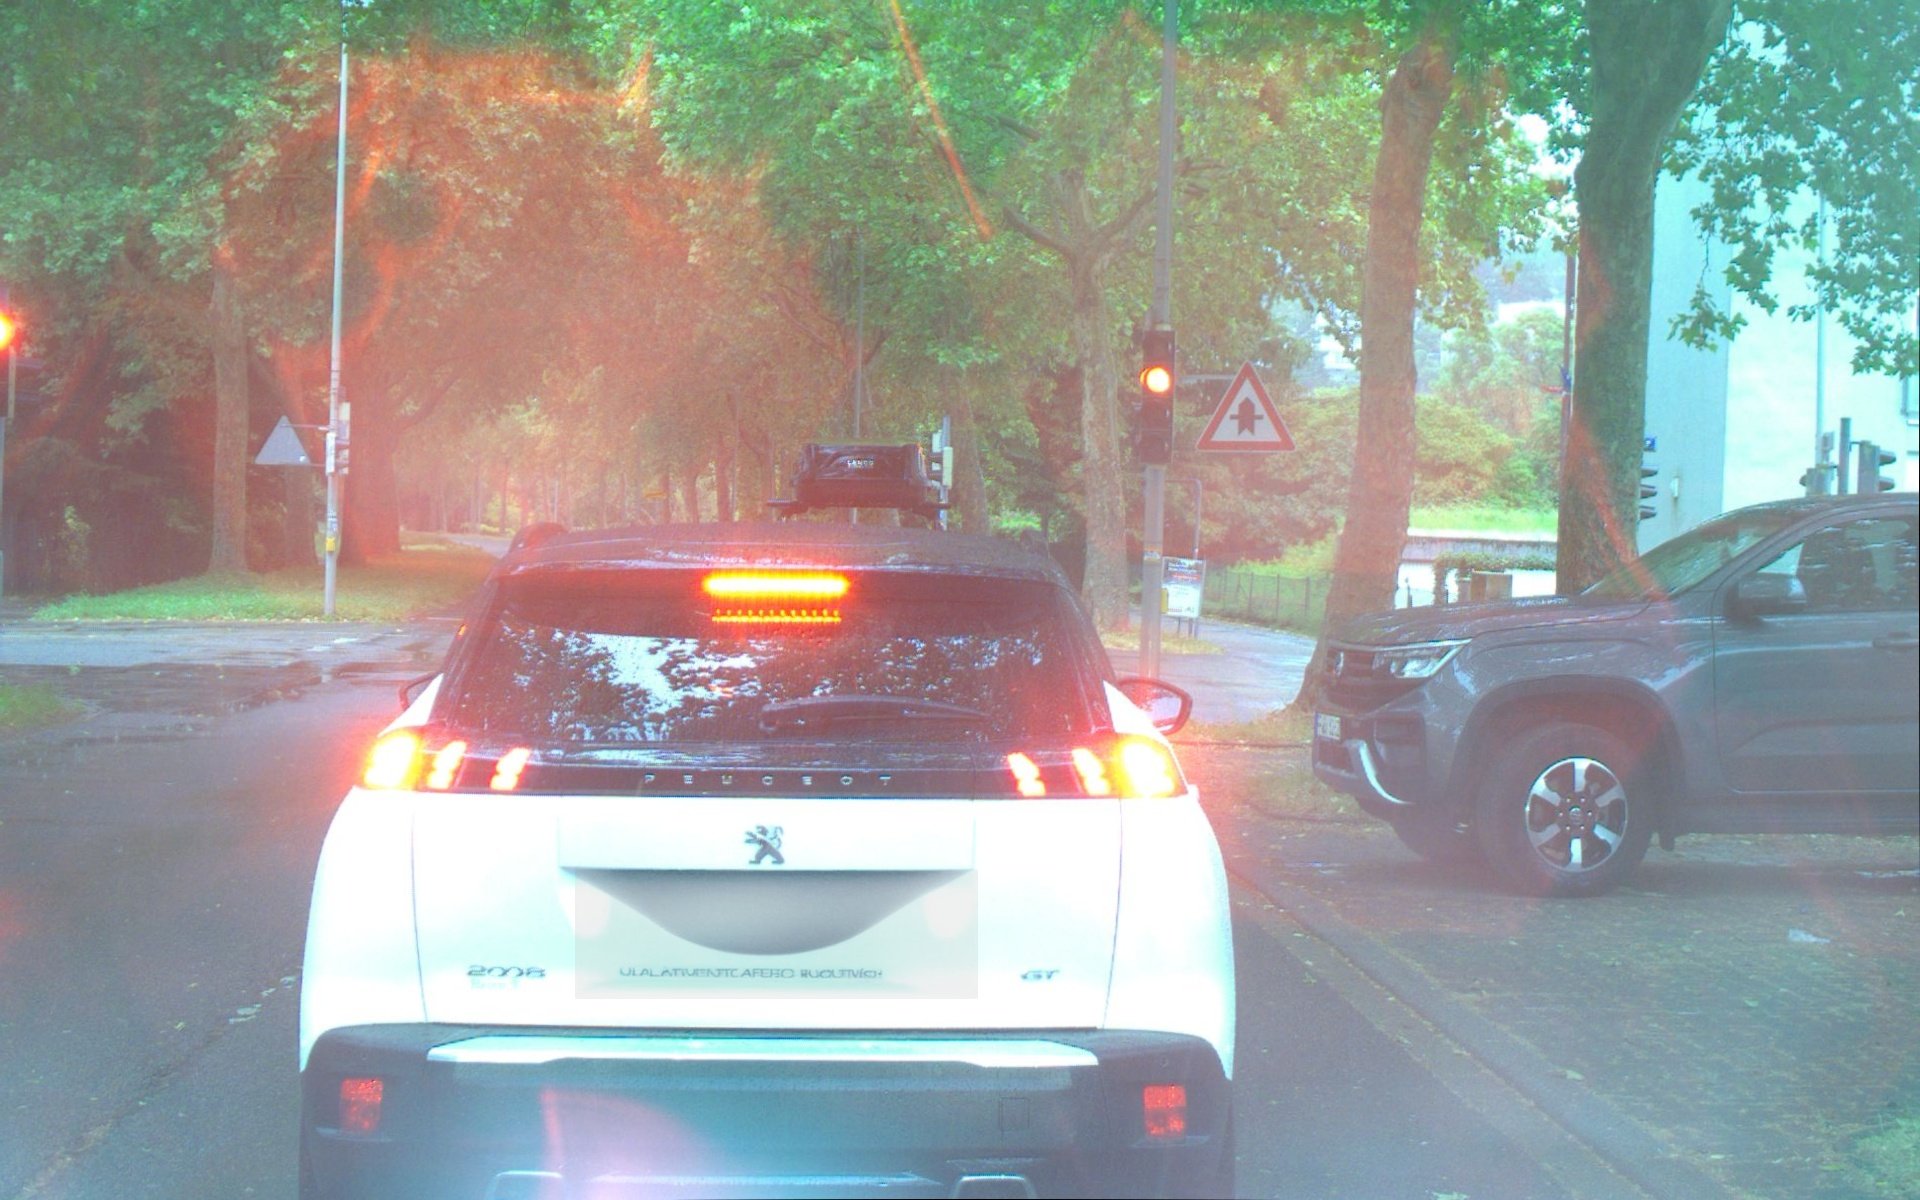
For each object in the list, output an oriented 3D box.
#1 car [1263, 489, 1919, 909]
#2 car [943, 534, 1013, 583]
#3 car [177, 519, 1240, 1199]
[{"bbox_3d":[4.234,0.424,15.981,5.337,1.800,1.846,0,1,-7],"label":"car"},{"bbox_3d":[0.567,-1.357,111.826,1.905,1.504,3.932,2,1,-5],"label":"car"},{"bbox_3d":[-0.466,0.599,7.861,1.780,1.531,4.058,1,1,-1],"label":"car"}]
